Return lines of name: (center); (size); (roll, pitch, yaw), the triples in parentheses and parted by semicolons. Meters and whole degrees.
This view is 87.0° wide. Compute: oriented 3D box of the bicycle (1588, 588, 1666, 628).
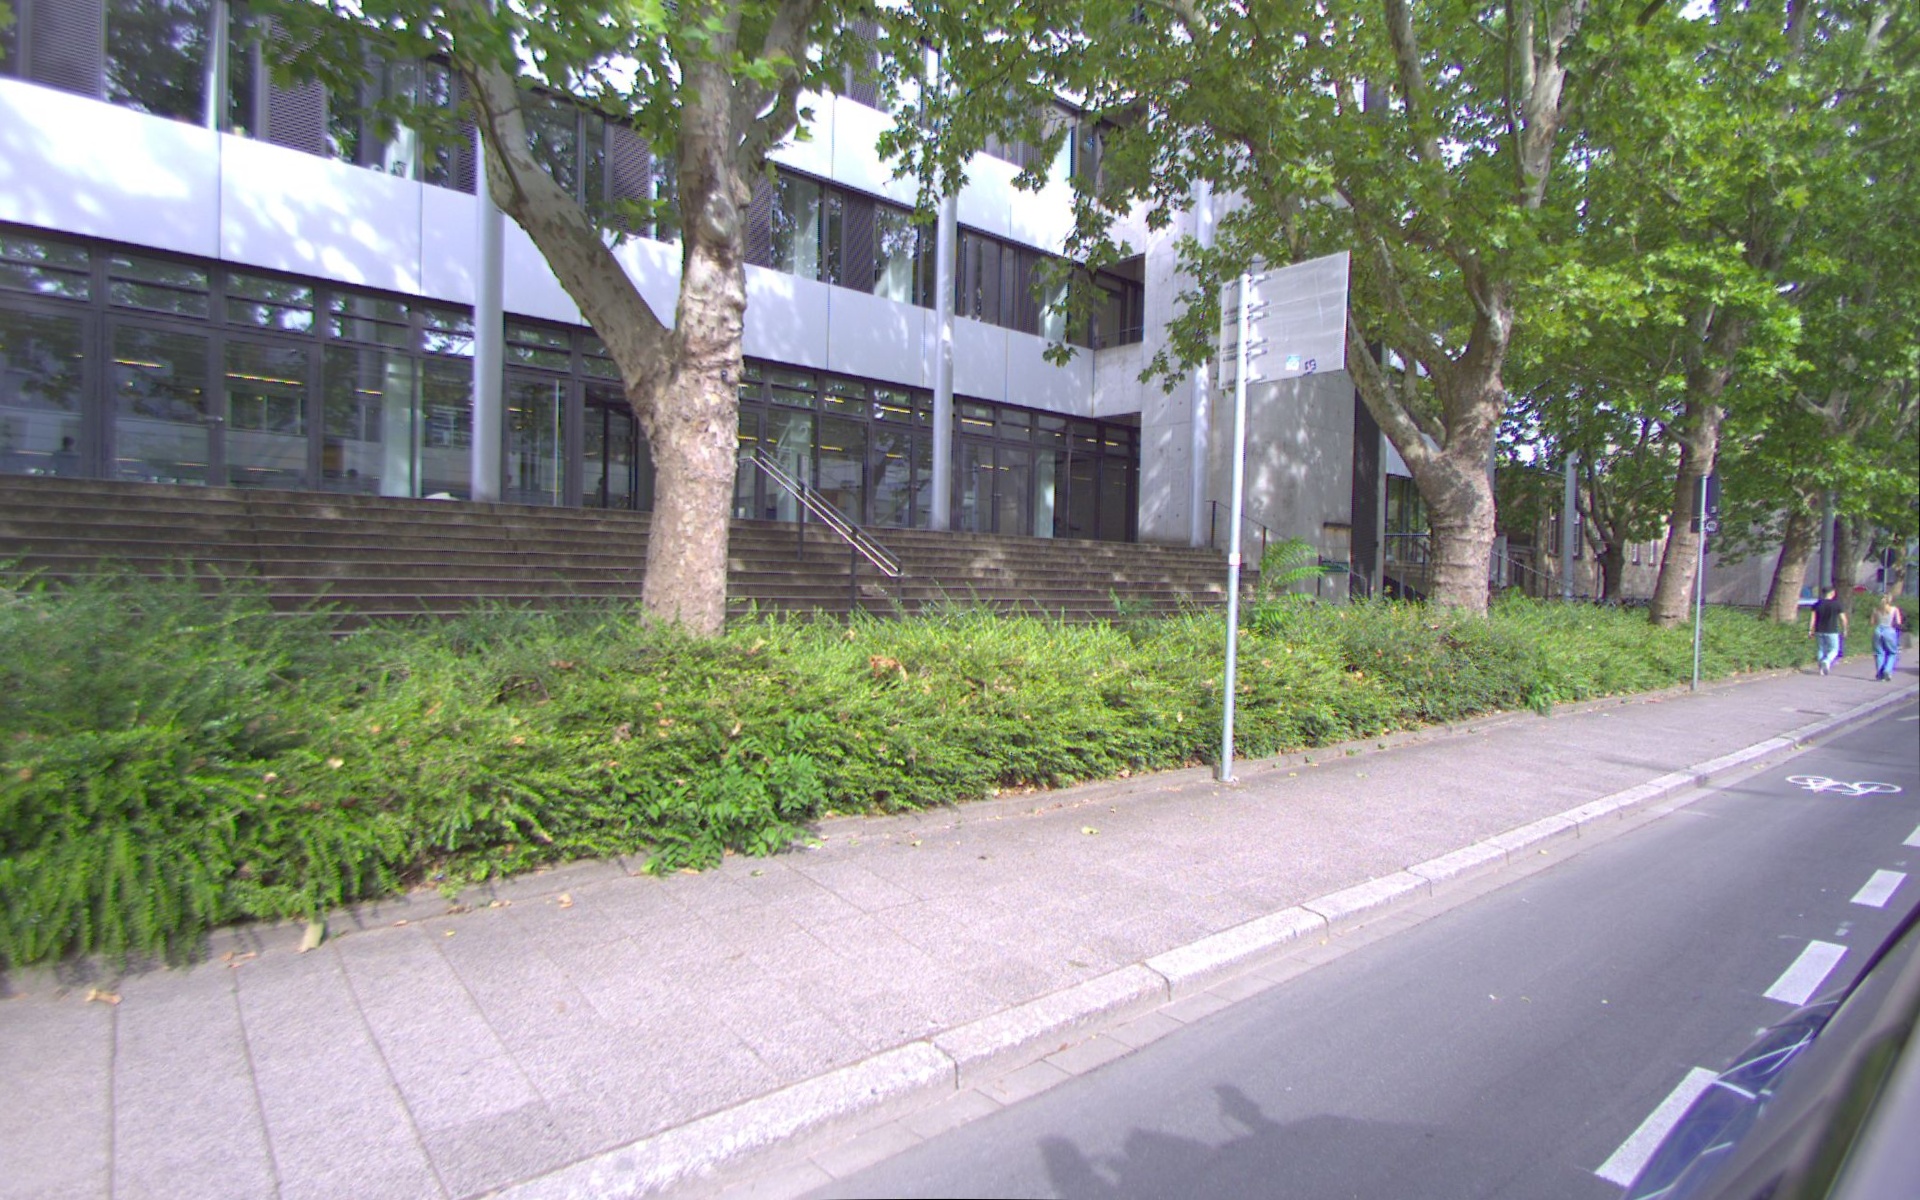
bicycle: (21.048, 0.243, 31.962); (0.661, 1.131, 1.919); (1, 2, -40)

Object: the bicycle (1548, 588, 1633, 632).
bicycle: (17.927, 0.275, 28.815); (0.661, 1.131, 1.919); (1, 2, -40)

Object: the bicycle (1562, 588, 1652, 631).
bicycle: (18.939, 0.268, 29.652); (0.661, 1.131, 2.084); (1, 2, -40)

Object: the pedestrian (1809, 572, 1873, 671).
pedestrian: (17.046, 0.389, 19.579); (1.016, 1.821, 0.716); (0, 3, -42)

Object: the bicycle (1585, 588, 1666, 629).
bicycle: (20.407, 0.254, 31.061); (0.661, 1.131, 1.919); (1, 2, -40)

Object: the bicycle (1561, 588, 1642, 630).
bicycle: (19.423, 0.253, 30.674); (0.661, 1.131, 1.919); (1, 2, -40)

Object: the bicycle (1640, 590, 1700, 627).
bicycle: (23.463, 0.268, 33.465); (1.539, 1.131, 0.461); (4, 2, 43)

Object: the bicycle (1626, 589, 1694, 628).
bicycle: (22.336, 0.264, 32.314); (1.686, 1.131, 0.616); (3, 2, 31)

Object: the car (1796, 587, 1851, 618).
car: (45.658, 0.153, 53.506); (4.223, 1.468, 1.671); (3, -1, -42)

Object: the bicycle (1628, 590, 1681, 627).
bicycle: (22.581, 0.259, 32.909); (1.374, 1.131, 0.505); (3, 2, 36)

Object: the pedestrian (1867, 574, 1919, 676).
pedestrian: (17.528, 0.446, 18.863); (1.016, 1.805, 0.712); (0, 3, -42)

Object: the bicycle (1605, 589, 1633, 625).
bicycle: (21.680, 0.231, 33.291); (0.491, 1.131, 1.415); (4, 2, 44)
